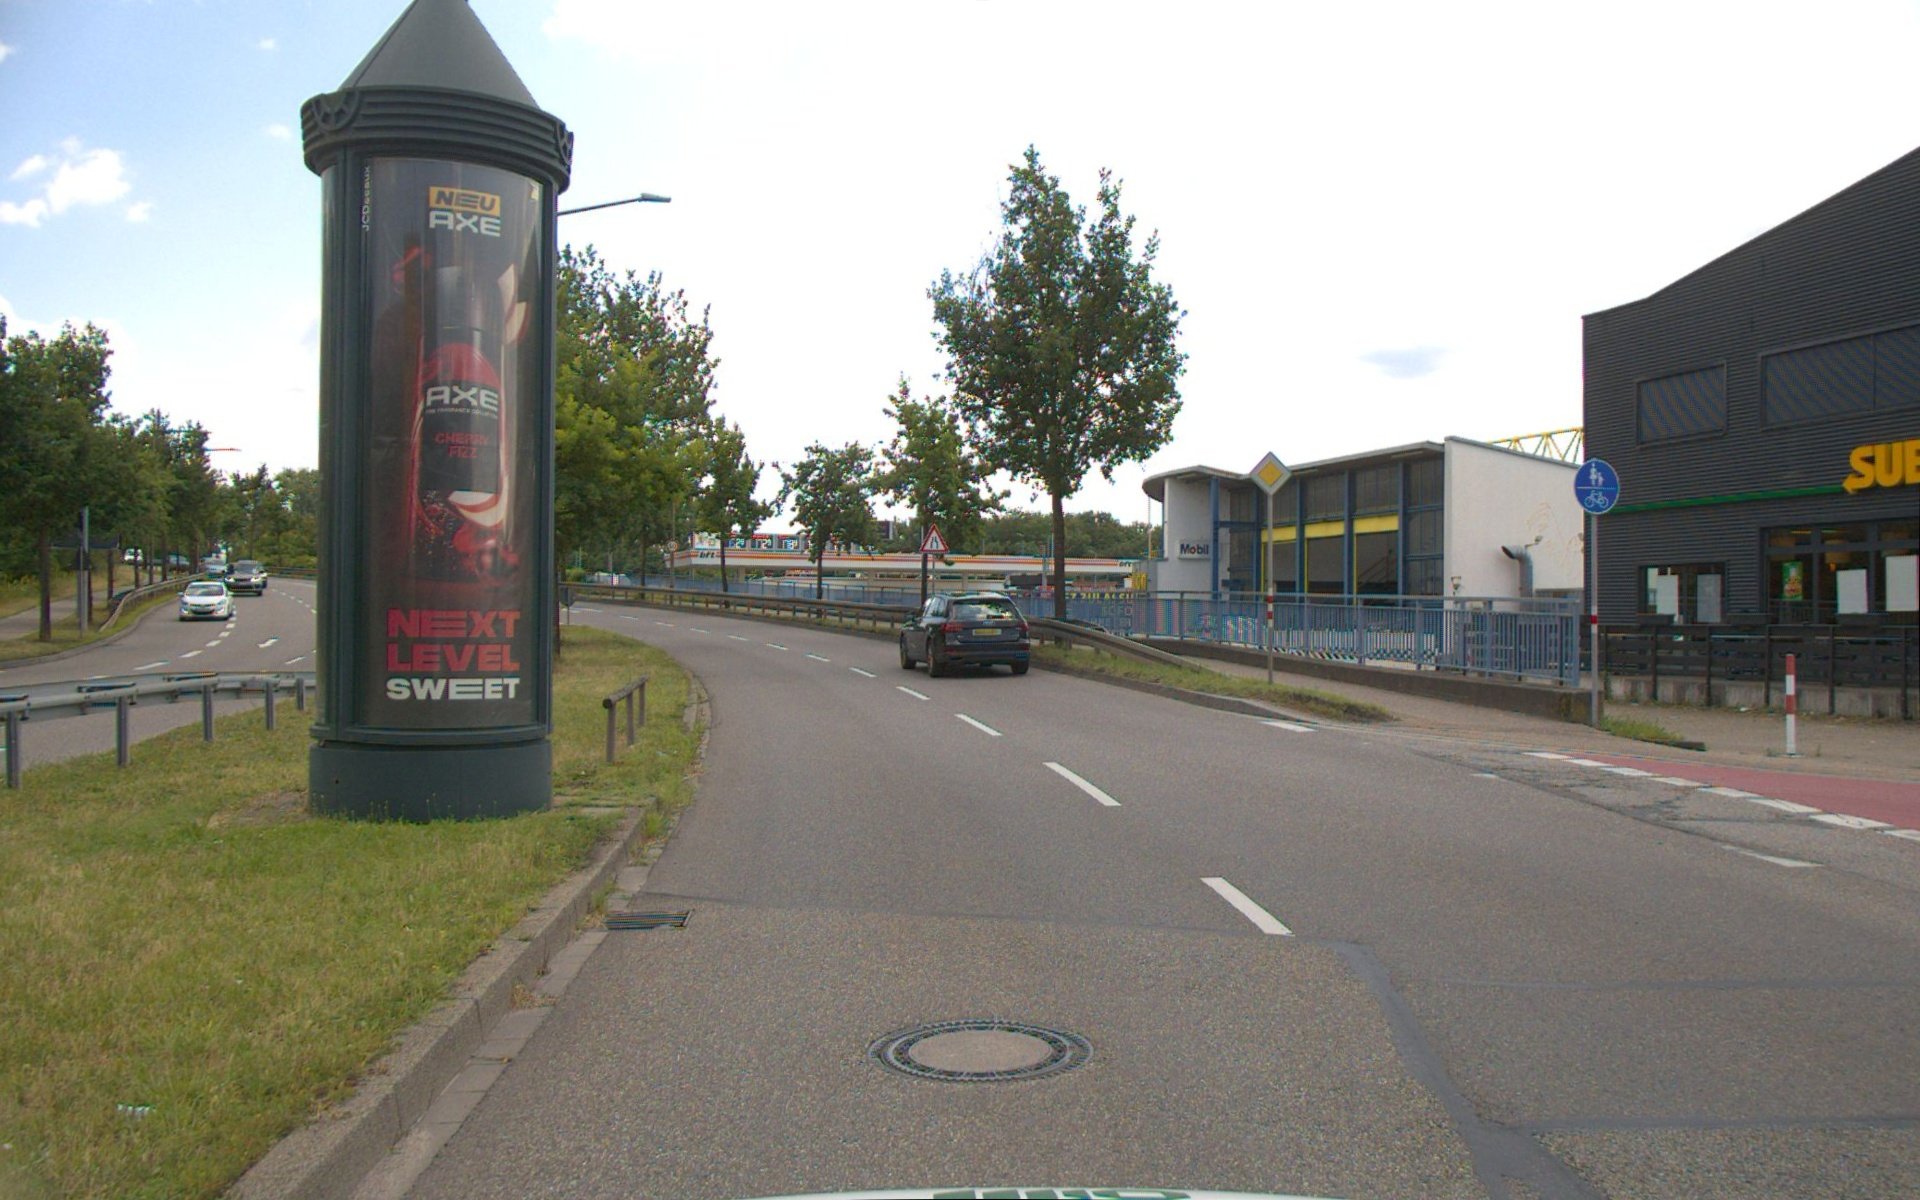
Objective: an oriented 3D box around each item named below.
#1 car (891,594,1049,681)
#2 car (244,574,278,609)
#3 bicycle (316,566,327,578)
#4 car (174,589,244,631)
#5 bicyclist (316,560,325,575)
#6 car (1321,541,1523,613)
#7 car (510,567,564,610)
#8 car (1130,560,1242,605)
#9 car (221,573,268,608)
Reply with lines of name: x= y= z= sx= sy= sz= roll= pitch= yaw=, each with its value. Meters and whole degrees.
car: x=0.085 y=0.635 z=30.300 sx=1.958 sy=1.415 sz=4.562 roll=1 pitch=0 yaw=-12
car: x=-44.476 y=-0.538 z=105.215 sx=1.967 sy=2.048 sz=4.784 roll=0 pitch=2 yaw=-23
bicycle: x=-53.252 y=-2.337 z=138.012 sx=0.537 sy=0.881 sz=1.731 roll=2 pitch=-1 yaw=-31
car: x=-29.971 y=0.409 z=66.098 sx=1.962 sy=1.559 sz=4.310 roll=-2 pitch=0 yaw=-17
bicyclist: x=-53.398 y=-2.693 z=138.114 sx=0.469 sy=1.188 sz=0.818 roll=-1 pitch=0 yaw=-32
car: x=13.985 y=-0.652 z=50.095 sx=5.716 sy=2.049 sz=2.219 roll=0 pitch=-1 yaw=-20
car: x=-21.738 y=-0.545 z=84.887 sx=1.967 sy=2.073 sz=4.677 roll=0 pitch=-1 yaw=-24
car: x=7.304 y=-0.578 z=53.902 sx=1.960 sy=1.383 sz=4.730 roll=-1 pitch=1 yaw=-15
car: x=-39.547 y=-0.506 z=91.355 sx=1.972 sy=1.894 sz=4.669 roll=0 pitch=0 yaw=-29
